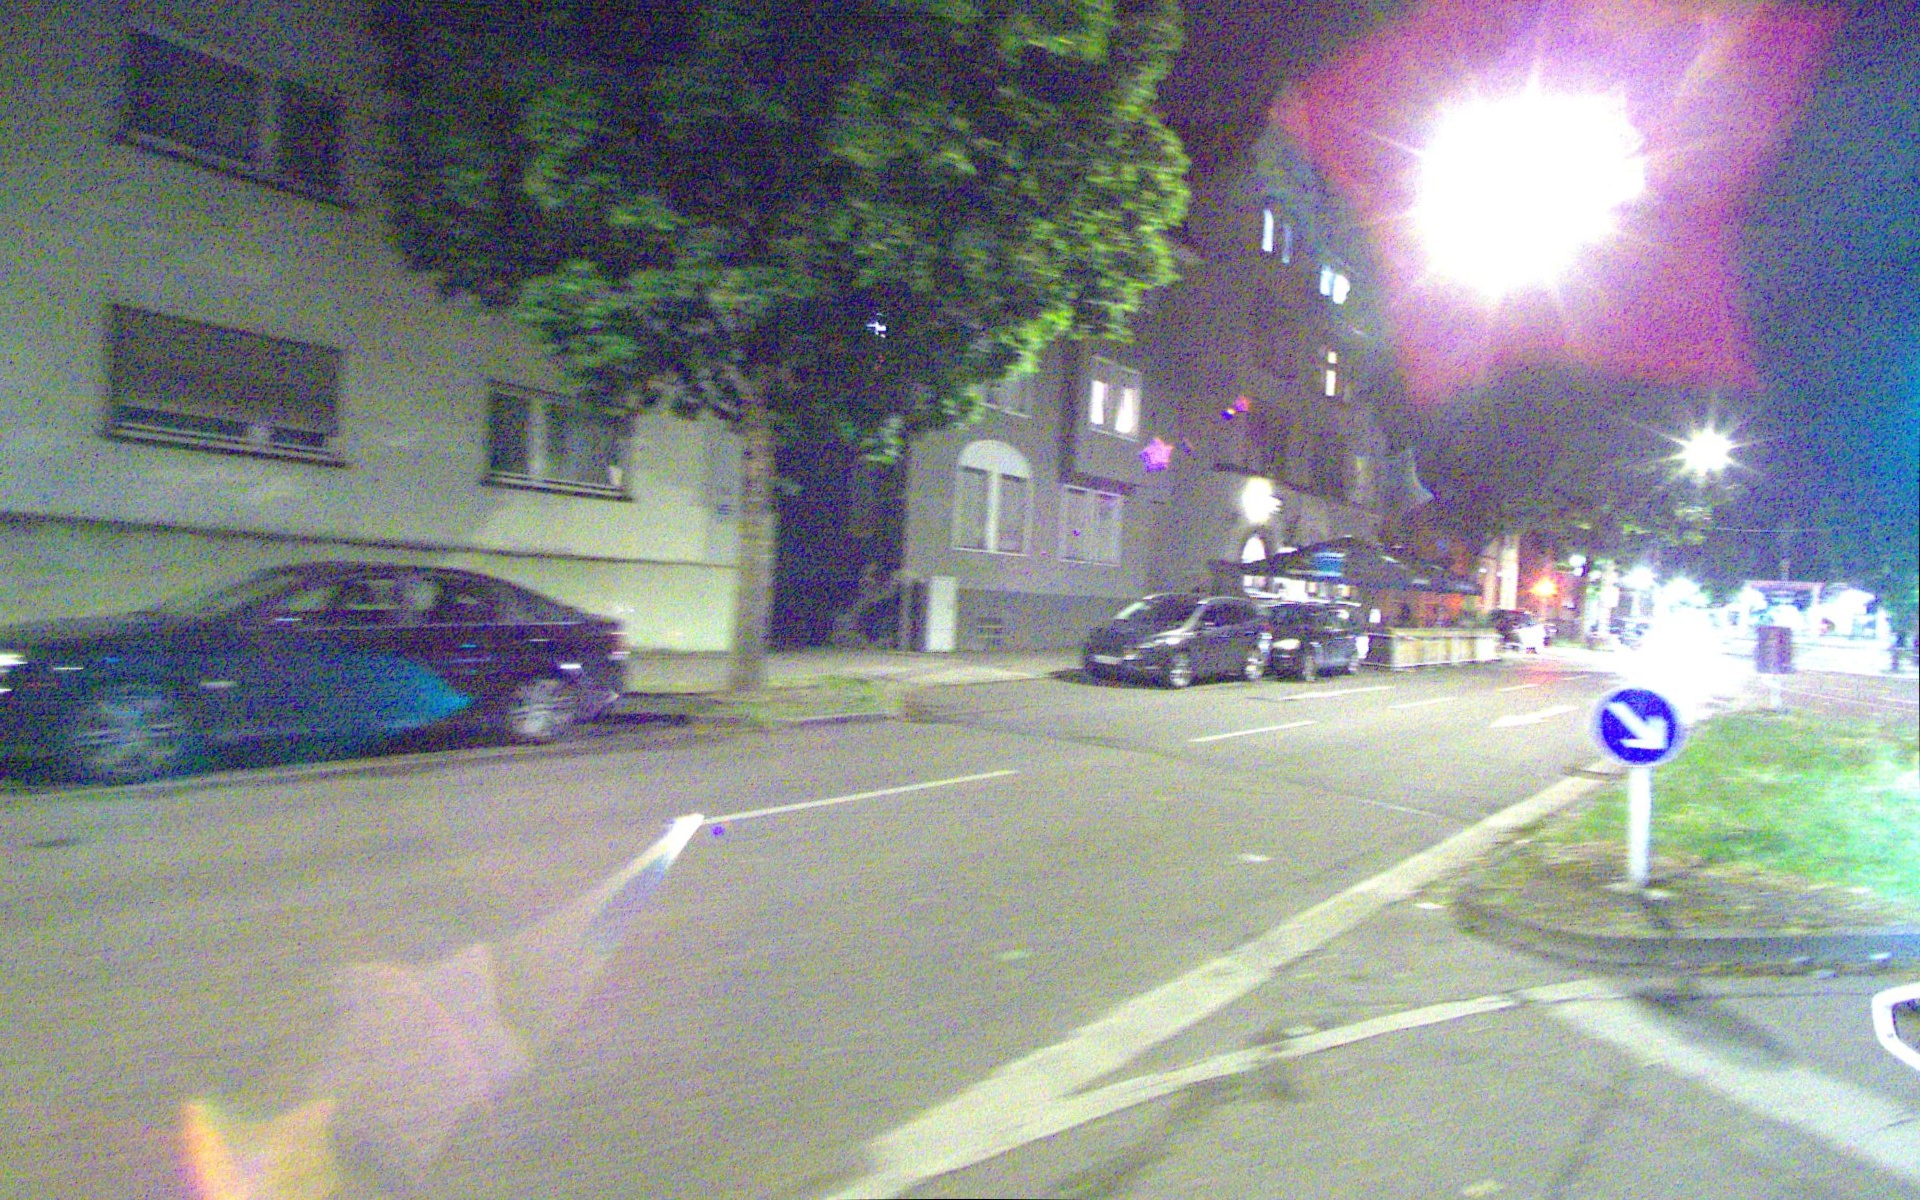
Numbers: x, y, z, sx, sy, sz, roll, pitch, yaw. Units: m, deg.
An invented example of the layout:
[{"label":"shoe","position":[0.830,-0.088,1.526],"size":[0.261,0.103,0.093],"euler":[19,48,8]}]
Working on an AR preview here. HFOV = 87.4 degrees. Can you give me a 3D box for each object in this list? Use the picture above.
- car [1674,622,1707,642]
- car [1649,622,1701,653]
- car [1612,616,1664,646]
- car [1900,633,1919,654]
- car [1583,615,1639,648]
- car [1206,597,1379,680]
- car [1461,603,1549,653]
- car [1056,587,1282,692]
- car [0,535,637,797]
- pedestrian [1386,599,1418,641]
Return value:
[{"label":"car","position":[57.728,2.499,79.368],"size":[1.763,1.434,4.107],"euler":[6,3,40]},{"label":"car","position":[36.251,1.880,50.887],"size":[1.696,1.448,3.978],"euler":[2,0,42]},{"label":"car","position":[40.111,1.829,59.412],"size":[1.765,1.511,4.304],"euler":[8,4,43]},{"label":"car","position":[73.381,3.339,76.788],"size":[1.712,1.479,4.708],"euler":[5,2,38]},{"label":"car","position":[34.480,1.661,53.184],"size":[3.674,1.511,1.577],"euler":[2,4,-44]},{"label":"car","position":[7.182,0.795,21.441],"size":[1.840,1.452,4.420],"euler":[6,2,42]},{"label":"car","position":[20.543,1.059,37.780],"size":[1.865,1.617,4.001],"euler":[6,3,43]},{"label":"car","position":[3.782,0.654,17.631],"size":[1.840,1.499,4.449],"euler":[5,2,42]},{"label":"car","position":[-4.973,0.378,7.757],"size":[1.838,1.452,4.384],"euler":[5,2,39]},{"label":"pedestrian","position":[18.324,0.836,41.683],"size":[1.114,1.713,0.704],"euler":[2,1,-38]}]
